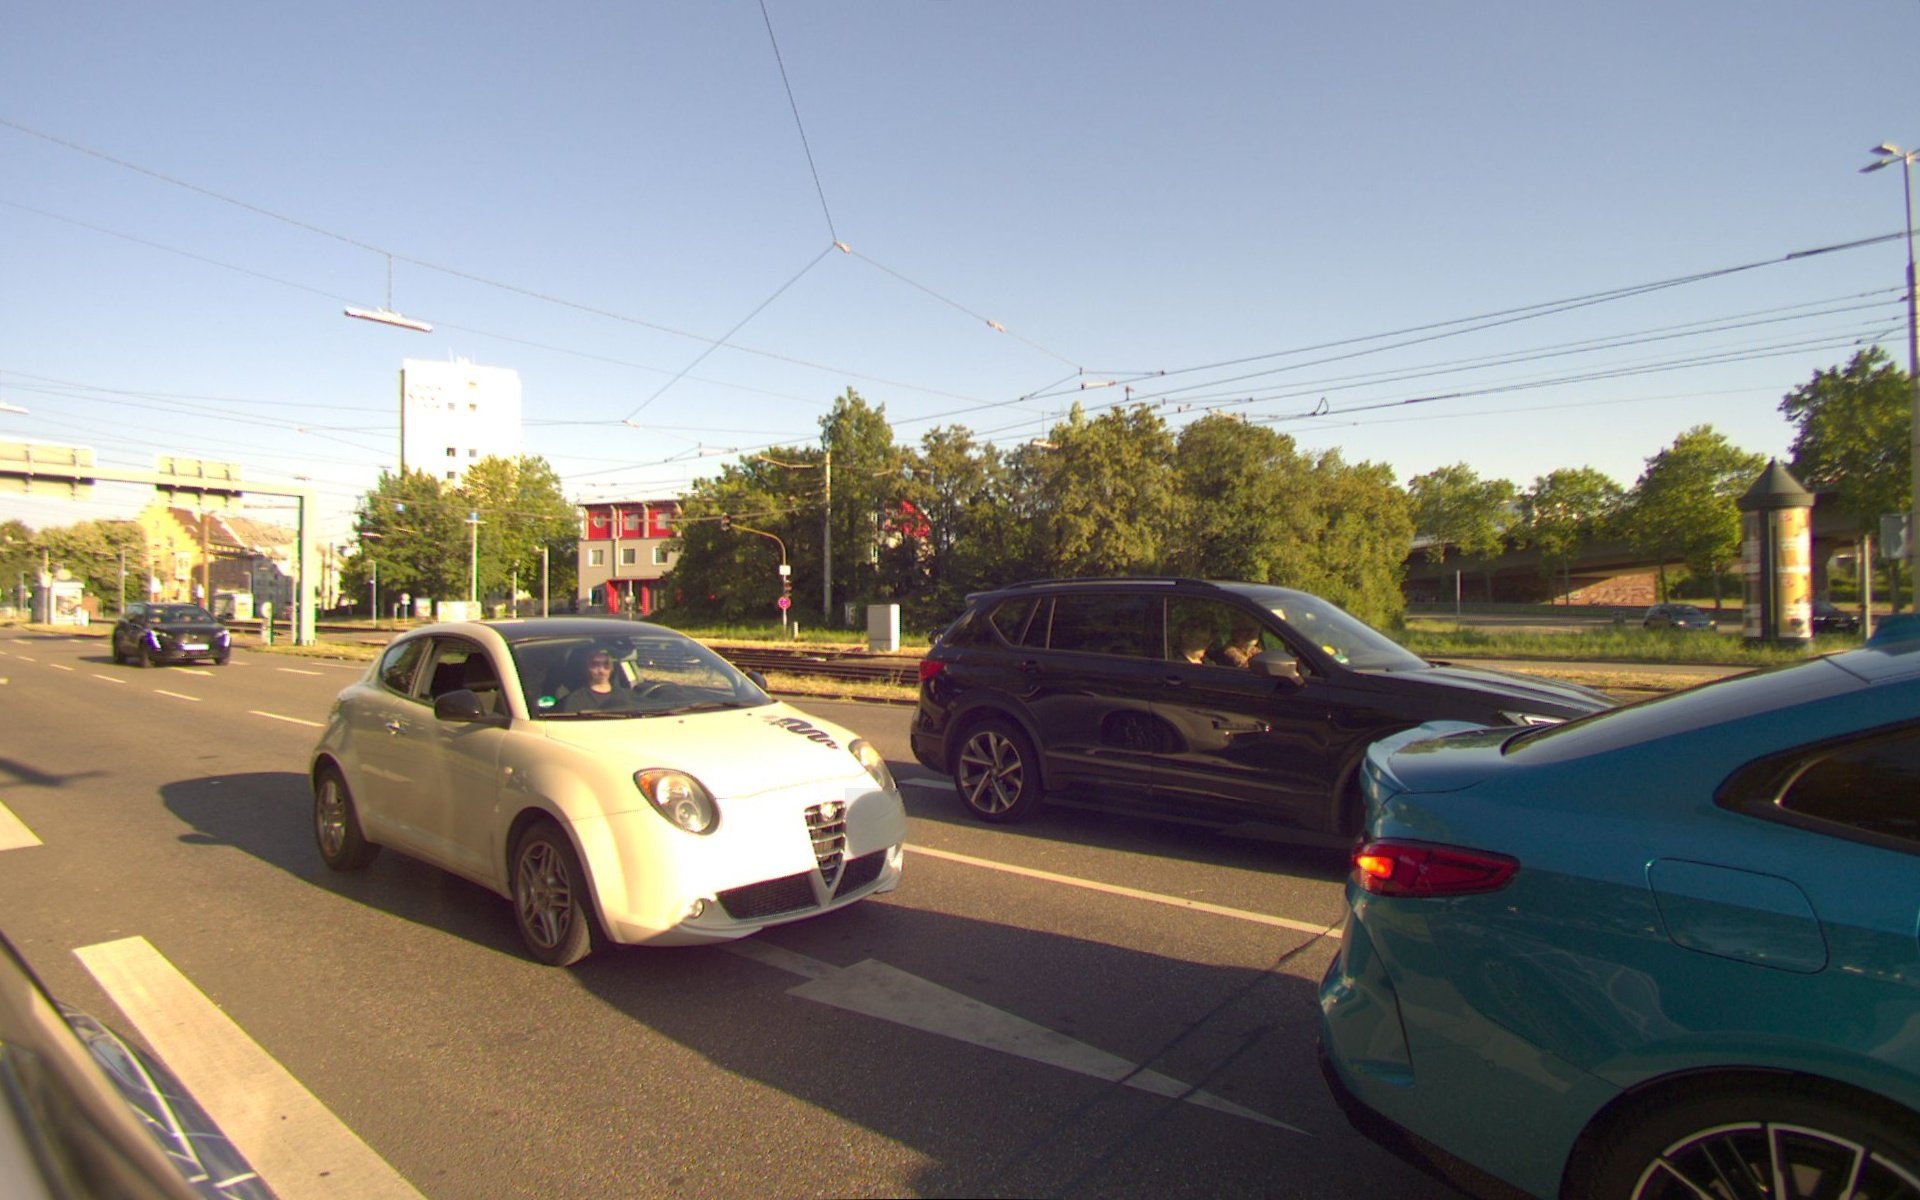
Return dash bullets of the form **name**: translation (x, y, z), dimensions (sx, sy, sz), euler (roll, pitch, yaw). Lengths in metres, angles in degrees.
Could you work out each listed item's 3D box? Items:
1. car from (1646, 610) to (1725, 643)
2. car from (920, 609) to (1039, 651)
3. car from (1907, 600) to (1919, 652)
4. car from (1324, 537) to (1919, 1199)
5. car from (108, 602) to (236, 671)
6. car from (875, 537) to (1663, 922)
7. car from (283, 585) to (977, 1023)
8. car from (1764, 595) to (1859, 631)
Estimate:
- **car**: translation (35.599, 1.257, 49.770), dimensions (1.706, 1.537, 3.920), euler (-1, -1, 12)
- **car**: translation (0.834, 1.266, 42.475), dimensions (4.711, 1.691, 1.746), euler (-1, -1, 15)
- **car**: translation (31.698, 0.814, 31.042), dimensions (1.675, 1.691, 4.401), euler (-1, -1, 9)
- **car**: translation (2.915, 0.636, 1.432), dimensions (4.201, 1.477, 1.697), euler (-1, -2, 38)
- **car**: translation (-20.930, 0.942, 26.823), dimensions (4.274, 1.675, 1.881), euler (-2, -2, 41)
- **car**: translation (1.715, 0.626, 6.641), dimensions (4.619, 1.692, 1.795), euler (-1, -2, 40)
- **car**: translation (-1.994, 0.758, 5.471), dimensions (3.997, 1.517, 1.719), euler (-1, -2, 40)
- **car**: translation (38.348, 0.570, 45.708), dimensions (1.609, 1.537, 4.389), euler (-1, -1, 17)
